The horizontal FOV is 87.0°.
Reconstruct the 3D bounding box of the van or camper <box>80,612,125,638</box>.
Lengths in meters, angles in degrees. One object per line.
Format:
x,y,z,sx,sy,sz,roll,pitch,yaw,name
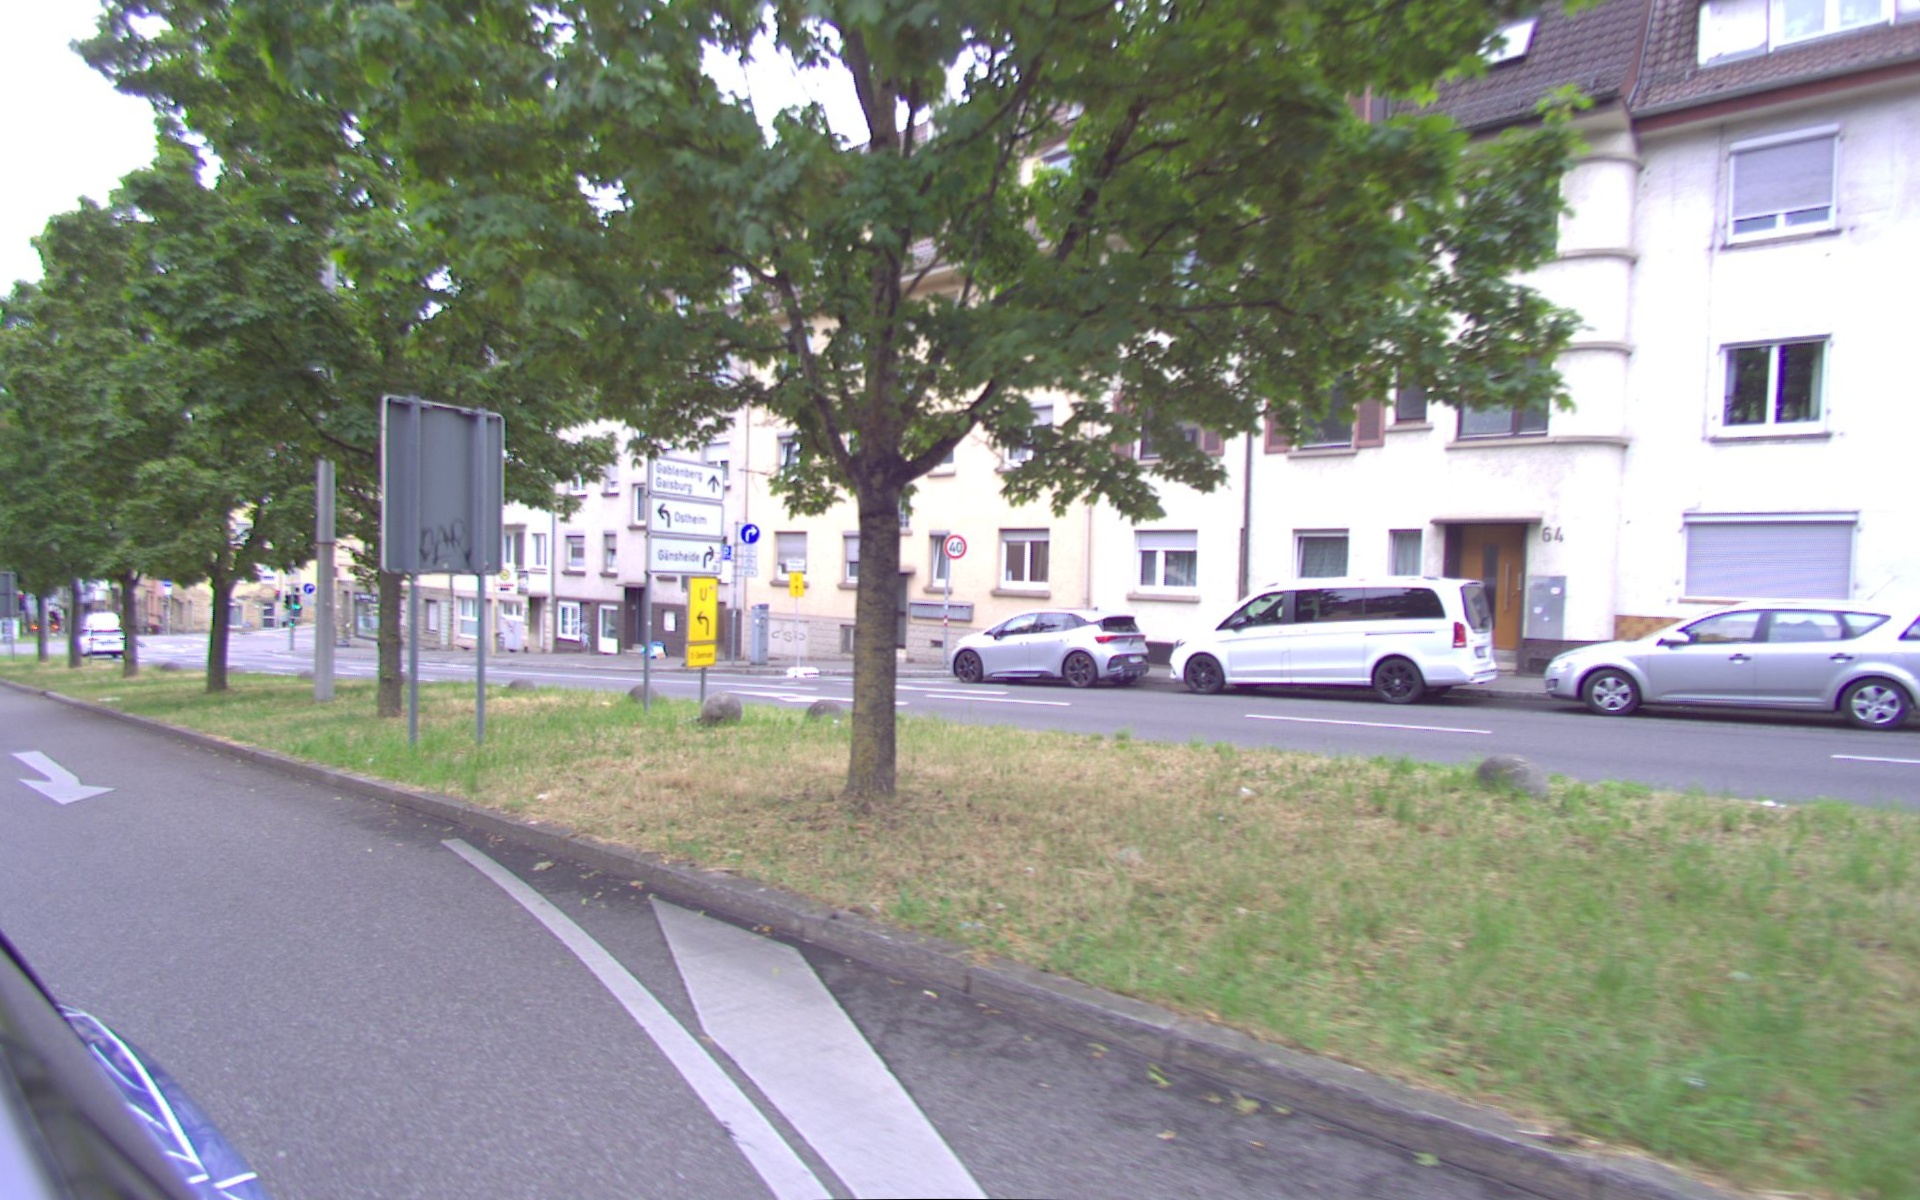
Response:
-61.419,1.784,72.485,4.654,1.774,1.887,-2,-1,42,van or camper

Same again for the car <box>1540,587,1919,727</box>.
10.190,0.660,13.069,4.380,1.564,1.973,-1,-1,41,car

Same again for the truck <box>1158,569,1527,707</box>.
6.128,0.571,16.707,5.344,1.934,1.973,-1,-1,41,truck

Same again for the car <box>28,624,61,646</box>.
-84.926,3.233,93.854,4.351,1.829,1.859,-4,-2,43,car

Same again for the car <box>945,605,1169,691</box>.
1.897,0.906,20.509,4.156,1.564,1.973,-1,-1,41,car

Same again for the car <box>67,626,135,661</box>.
-39.211,1.964,46.162,4.583,1.478,1.727,-2,-1,41,car
